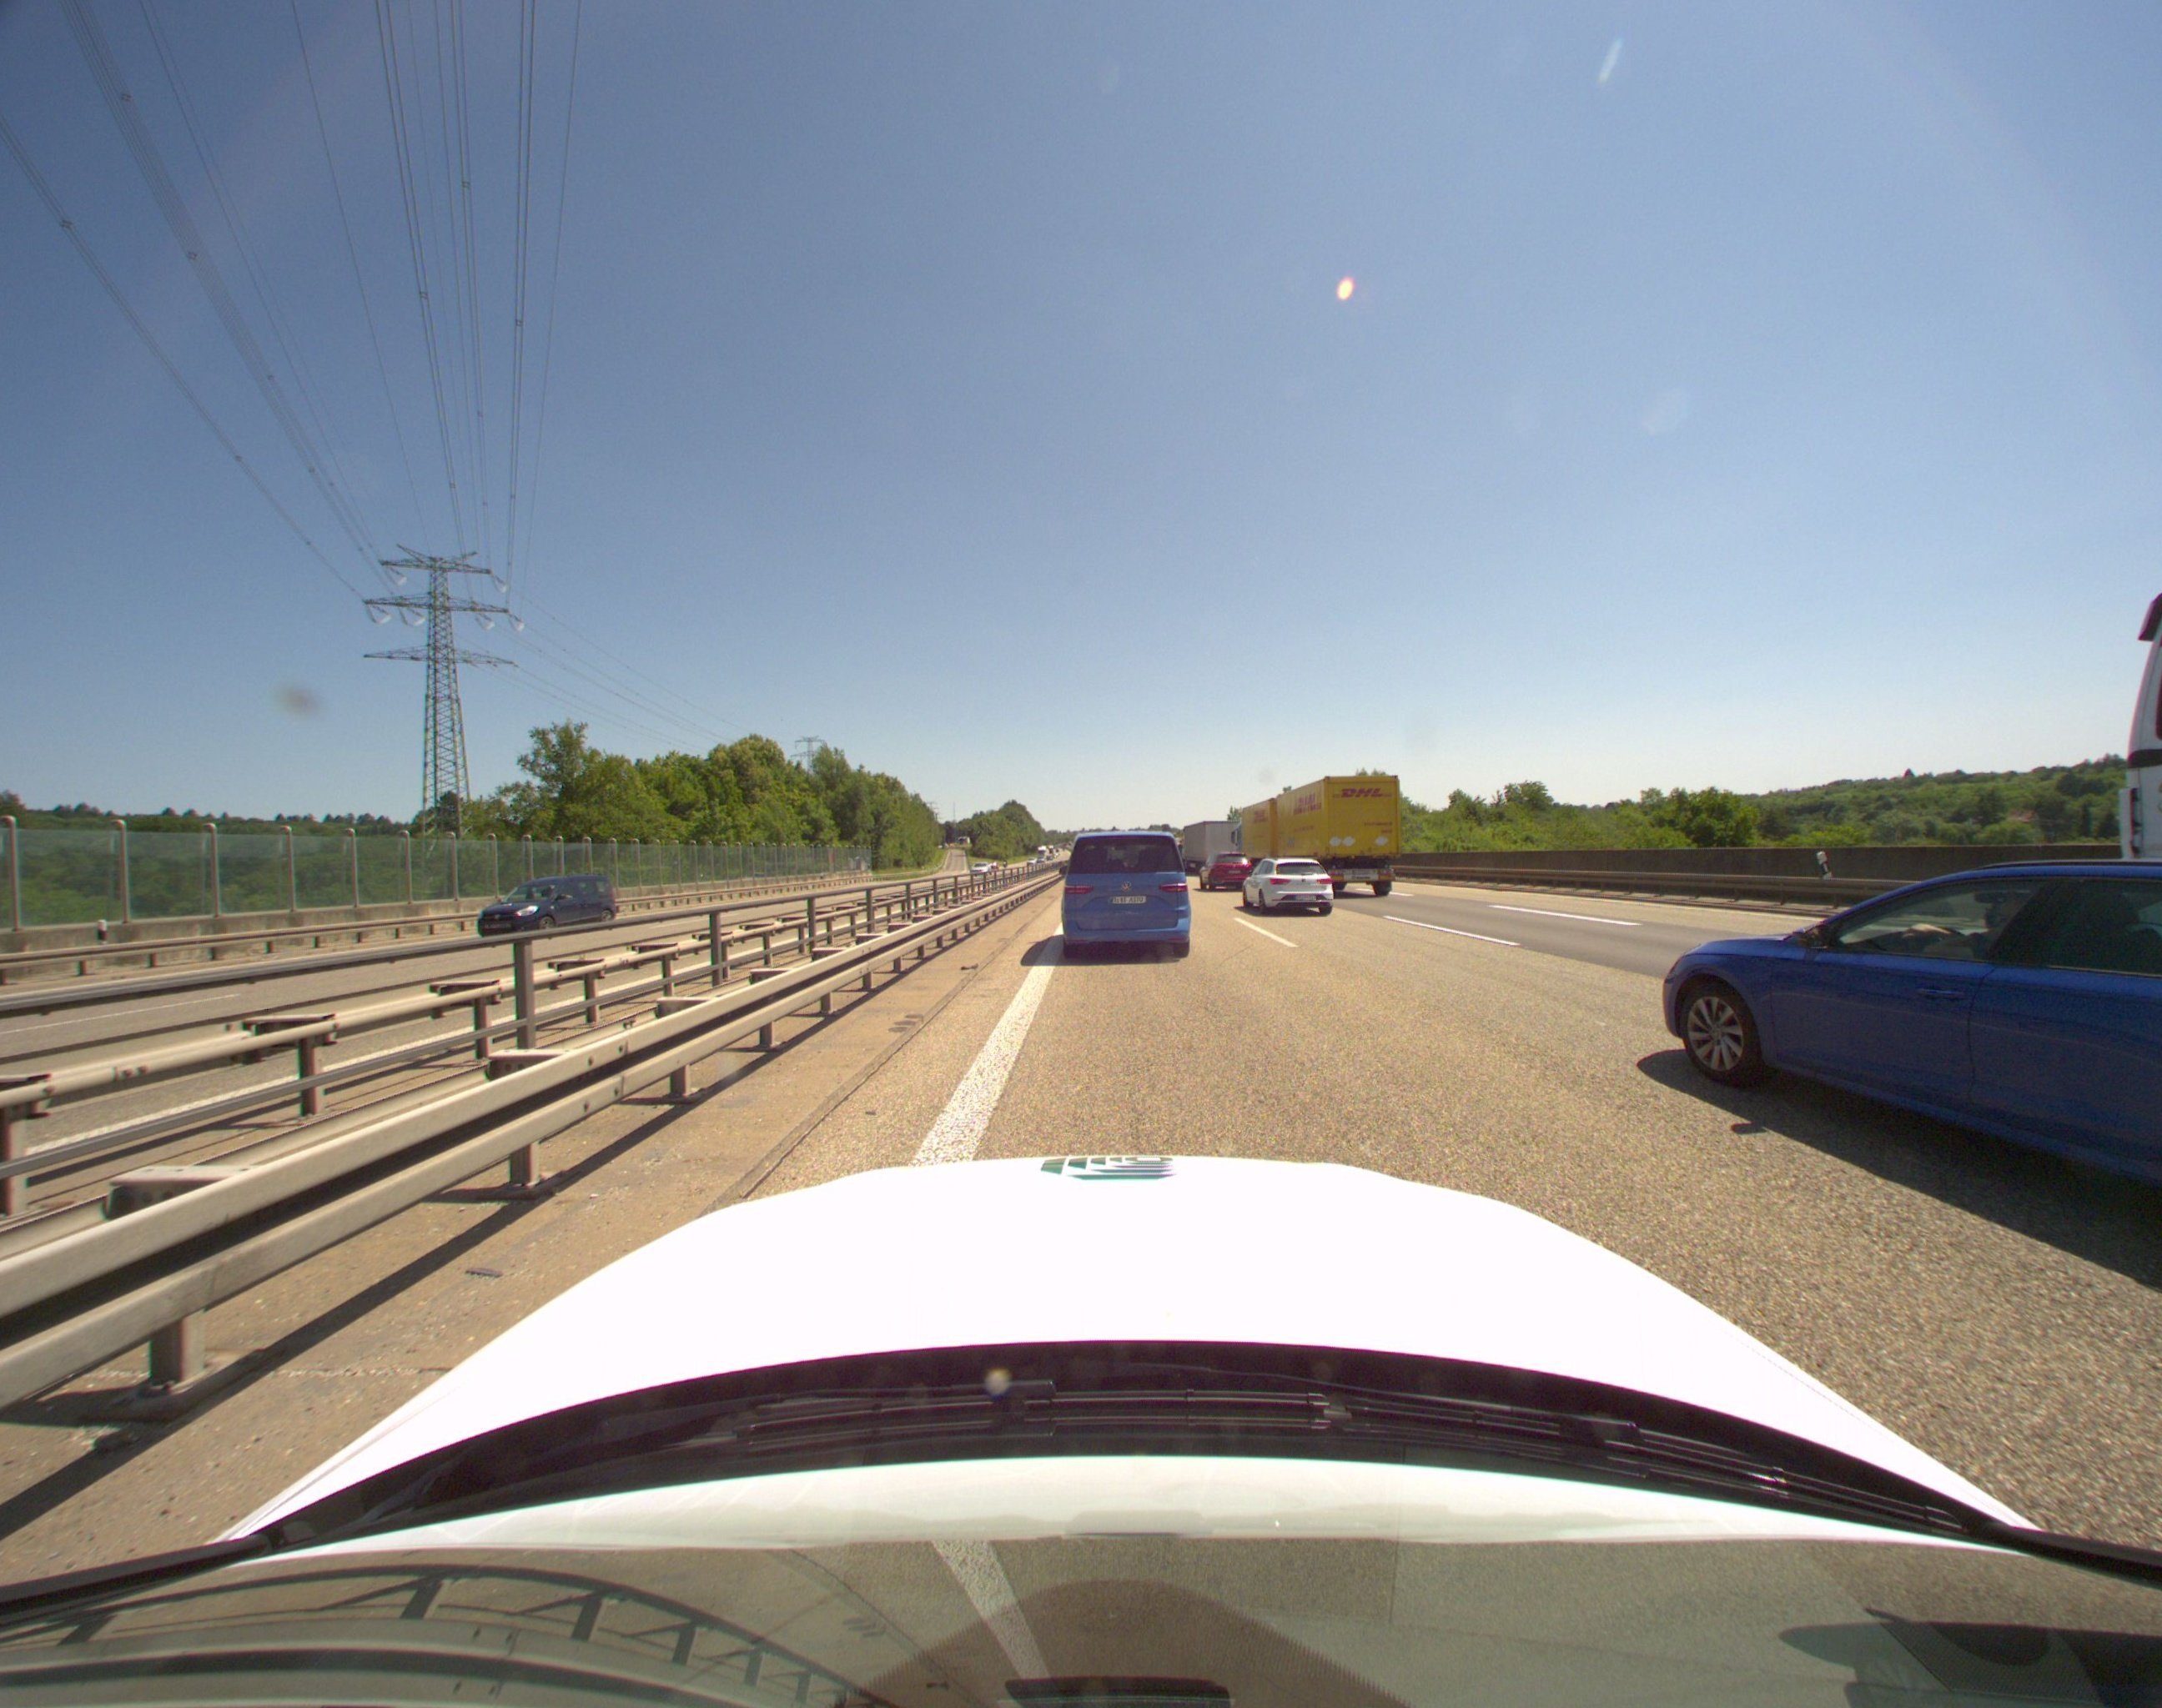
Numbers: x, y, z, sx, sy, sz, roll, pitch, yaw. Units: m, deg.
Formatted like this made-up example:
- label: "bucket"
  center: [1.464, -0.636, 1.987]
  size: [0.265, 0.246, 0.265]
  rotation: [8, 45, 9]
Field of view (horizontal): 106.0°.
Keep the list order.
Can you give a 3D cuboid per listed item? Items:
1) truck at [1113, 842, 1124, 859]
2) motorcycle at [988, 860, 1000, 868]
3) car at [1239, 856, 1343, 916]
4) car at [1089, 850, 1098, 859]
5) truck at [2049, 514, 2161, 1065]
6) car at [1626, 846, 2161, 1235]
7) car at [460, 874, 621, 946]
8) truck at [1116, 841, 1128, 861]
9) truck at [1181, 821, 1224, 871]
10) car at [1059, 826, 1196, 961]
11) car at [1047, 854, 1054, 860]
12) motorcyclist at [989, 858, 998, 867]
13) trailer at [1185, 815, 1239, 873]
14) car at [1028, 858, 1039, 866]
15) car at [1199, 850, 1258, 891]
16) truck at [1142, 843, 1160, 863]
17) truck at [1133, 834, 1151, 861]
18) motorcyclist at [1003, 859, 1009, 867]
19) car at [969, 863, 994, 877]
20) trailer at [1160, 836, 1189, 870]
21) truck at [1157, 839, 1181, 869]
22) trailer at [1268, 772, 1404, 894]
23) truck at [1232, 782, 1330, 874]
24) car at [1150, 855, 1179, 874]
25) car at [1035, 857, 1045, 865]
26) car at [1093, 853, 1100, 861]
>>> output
- label: "truck"
  center: [11.872, -1.113, 260.466]
  size: [2.824, 5.040, 12.911]
  rotation: [-3, 0, 0]
- label: "motorcycle"
  center: [-13.410, 1.563, 125.394]
  size: [1.361, 1.099, 2.577]
  rotation: [-4, 0, 1]
- label: "car"
  center: [5.417, 0.768, 21.533]
  size: [1.774, 1.387, 4.189]
  rotation: [-1, 0, 2]
- label: "car"
  center: [2.917, 0.155, 186.500]
  size: [1.986, 2.014, 4.001]
  rotation: [0, -1, 1]
- label: "truck"
  center: [8.382, -0.478, 0.529]
  size: [2.840, 3.603, 10.770]
  rotation: [0, -1, 1]
- label: "car"
  center: [4.880, 0.689, 3.792]
  size: [1.704, 1.440, 4.500]
  rotation: [-1, 0, 1]
- label: "car"
  center: [-15.990, 1.593, 24.407]
  size: [1.776, 1.785, 4.303]
  rotation: [-3, 0, 1]
- label: "truck"
  center: [11.917, -0.774, 236.690]
  size: [2.824, 5.373, 12.553]
  rotation: [0, -1, 0]
- label: "truck"
  center: [10.254, -0.611, 69.600]
  size: [2.758, 4.095, 6.985]
  rotation: [0, -1, 1]
- label: "car"
  center: [0.709, 0.554, 13.342]
  size: [1.875, 1.837, 4.001]
  rotation: [-1, 0, 2]
- label: "car"
  center: [-8.764, 0.796, 233.559]
  size: [1.823, 1.609, 4.169]
  rotation: [-4, 0, 1]
- label: "motorcyclist"
  center: [-13.426, 1.270, 125.165]
  size: [1.182, 1.256, 1.119]
  rotation: [-4, 0, 1]
- label: "trailer"
  center: [10.075, -0.674, 63.895]
  size: [2.745, 4.146, 11.315]
  rotation: [0, -1, 2]
- label: "car"
  center: [-9.209, 1.520, 156.927]
  size: [1.709, 1.434, 4.177]
  rotation: [-4, 0, 1]
- label: "car"
  center: [6.215, 0.678, 34.722]
  size: [1.844, 1.608, 4.001]
  rotation: [-1, 0, 2]
- label: "truck"
  center: [12.208, -0.131, 142.640]
  size: [2.348, 3.218, 9.739]
  rotation: [0, -1, 0]
- label: "truck"
  center: [11.992, -1.145, 161.758]
  size: [2.824, 5.040, 11.144]
  rotation: [0, -1, 0]
- label: "motorcyclist"
  center: [-13.627, 1.615, 147.597]
  size: [0.895, 1.441, 1.082]
  rotation: [-2, 1, 1]
- label: "car"
  center: [-10.250, 1.643, 84.204]
  size: [1.903, 1.394, 4.166]
  rotation: [-3, -1, 1]
- label: "trailer"
  center: [10.906, -0.043, 96.189]
  size: [2.371, 3.744, 11.190]
  rotation: [0, -1, 1]
- label: "truck"
  center: [10.998, 0.034, 102.039]
  size: [2.359, 3.722, 6.034]
  rotation: [0, -1, 1]
- label: "trailer"
  center: [9.451, -0.637, 31.426]
  size: [2.691, 4.023, 8.933]
  rotation: [0, -1, 2]
- label: "truck"
  center: [9.774, -1.075, 41.085]
  size: [2.712, 4.055, 10.340]
  rotation: [0, -1, 2]
- label: "car"
  center: [6.493, 0.826, 63.653]
  size: [1.832, 1.414, 3.999]
  rotation: [-1, 0, 0]
- label: "car"
  center: [-9.355, 1.585, 185.440]
  size: [1.823, 1.609, 4.169]
  rotation: [-5, 0, 1]
- label: "car"
  center: [4.185, 0.860, 221.128]
  size: [1.986, 2.014, 4.001]
  rotation: [0, -1, 1]
